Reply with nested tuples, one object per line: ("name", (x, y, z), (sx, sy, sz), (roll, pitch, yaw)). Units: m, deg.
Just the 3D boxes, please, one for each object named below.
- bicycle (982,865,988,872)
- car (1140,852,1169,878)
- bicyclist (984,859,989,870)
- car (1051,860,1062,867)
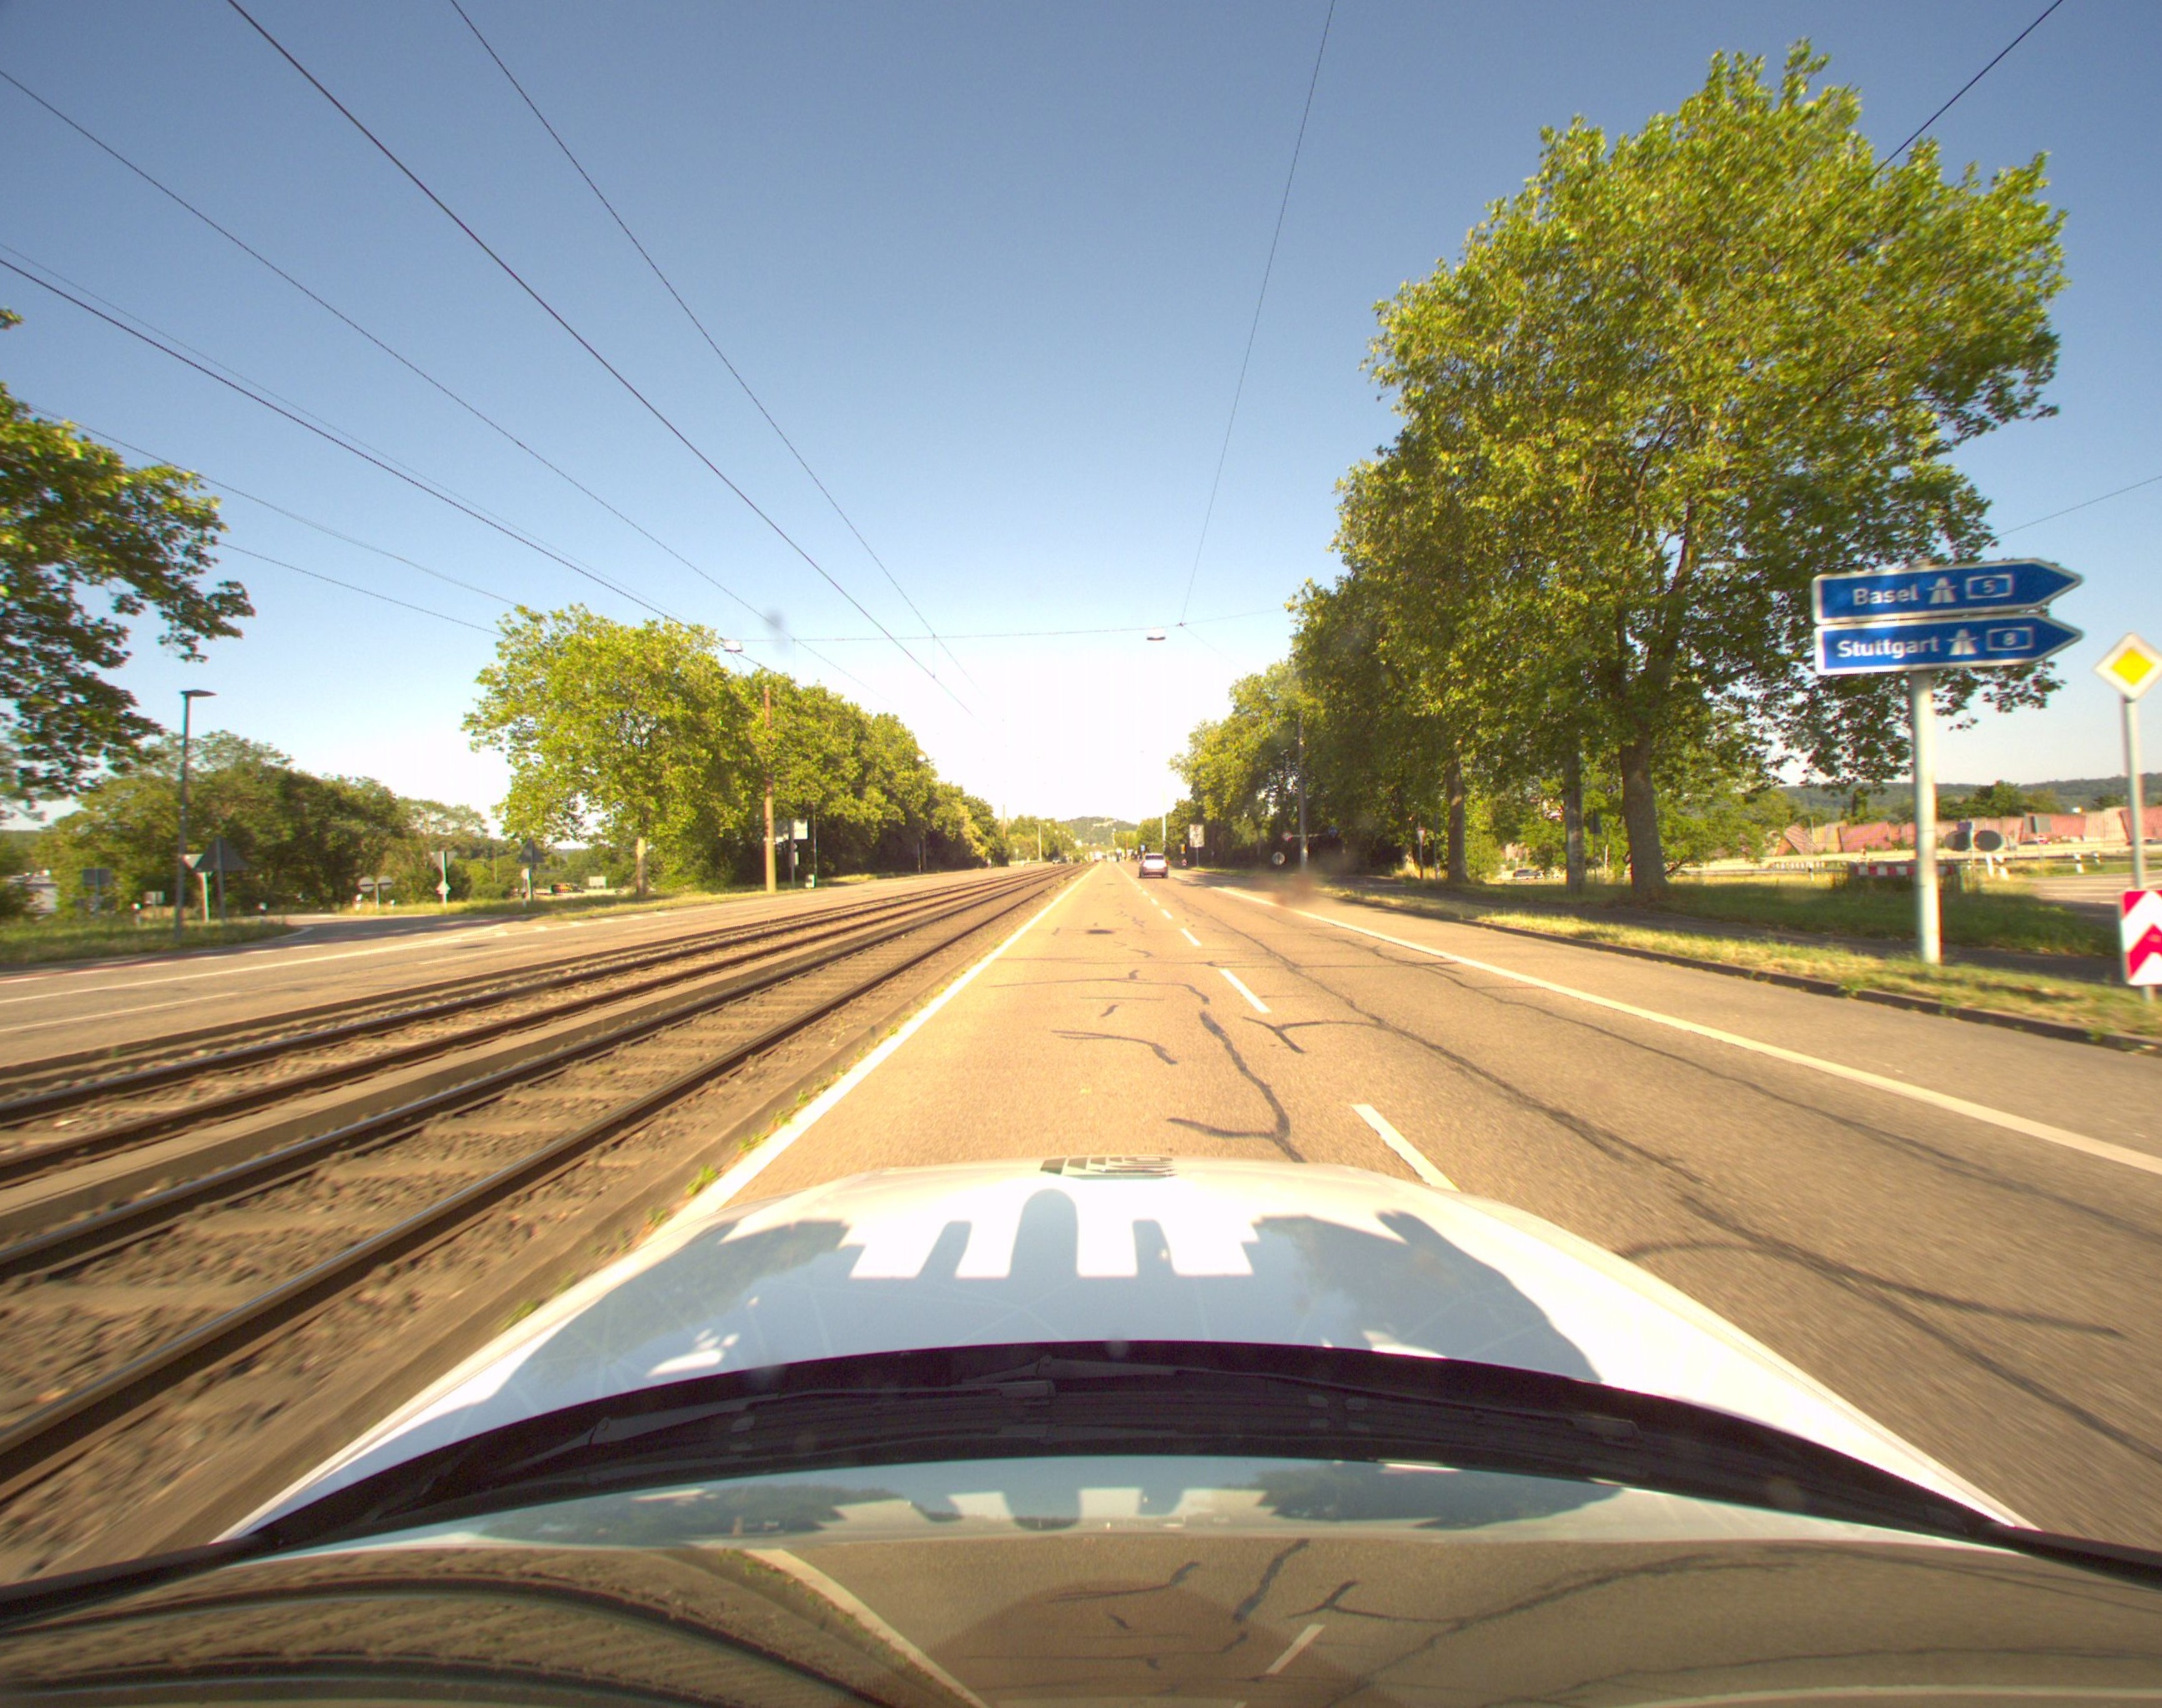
("bicycle", (-15.195, 2.256, 128.702), (0.548, 0.986, 2.240), (0, -3, 4))
("car", (4.986, 0.720, 55.707), (1.880, 1.693, 4.261), (-1, -1, 4))
("bicyclist", (-15.001, 1.659, 129.181), (0.548, 1.691, 0.821), (1, -3, 6))
("car", (-6.263, 2.351, 208.182), (1.984, 1.685, 4.802), (-3, -1, 5))
